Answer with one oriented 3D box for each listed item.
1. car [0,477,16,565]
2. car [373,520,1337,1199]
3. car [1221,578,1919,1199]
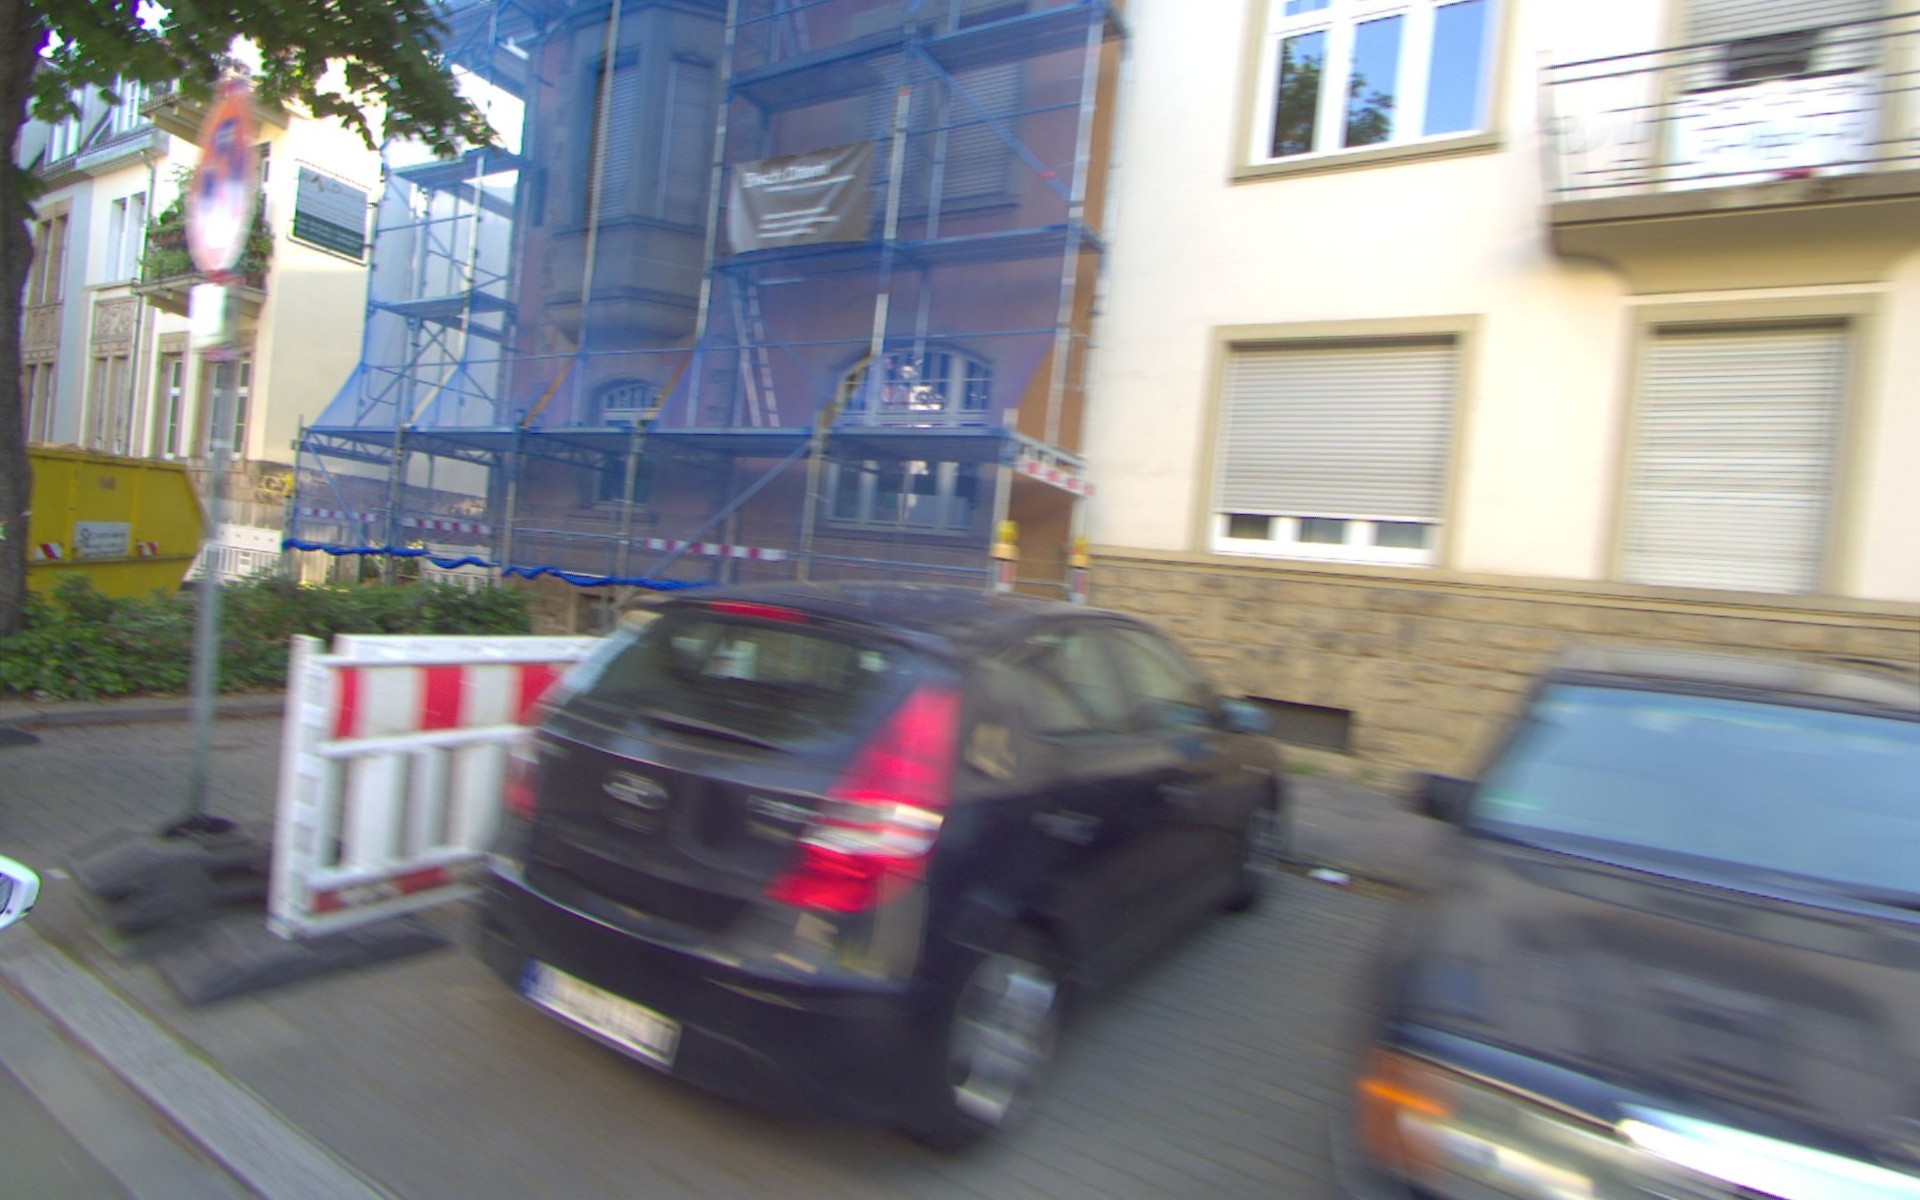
[{"bbox_3d":[-17.879,-1.477,16.048,1.661,1.482,3.848,7,2,36],"label":"car"},{"bbox_3d":[0.104,0.655,4.208,1.821,1.512,3.986,7,2,33],"label":"car"},{"bbox_3d":[2.452,0.883,3.195,1.820,1.555,4.718,7,2,31],"label":"car"}]
